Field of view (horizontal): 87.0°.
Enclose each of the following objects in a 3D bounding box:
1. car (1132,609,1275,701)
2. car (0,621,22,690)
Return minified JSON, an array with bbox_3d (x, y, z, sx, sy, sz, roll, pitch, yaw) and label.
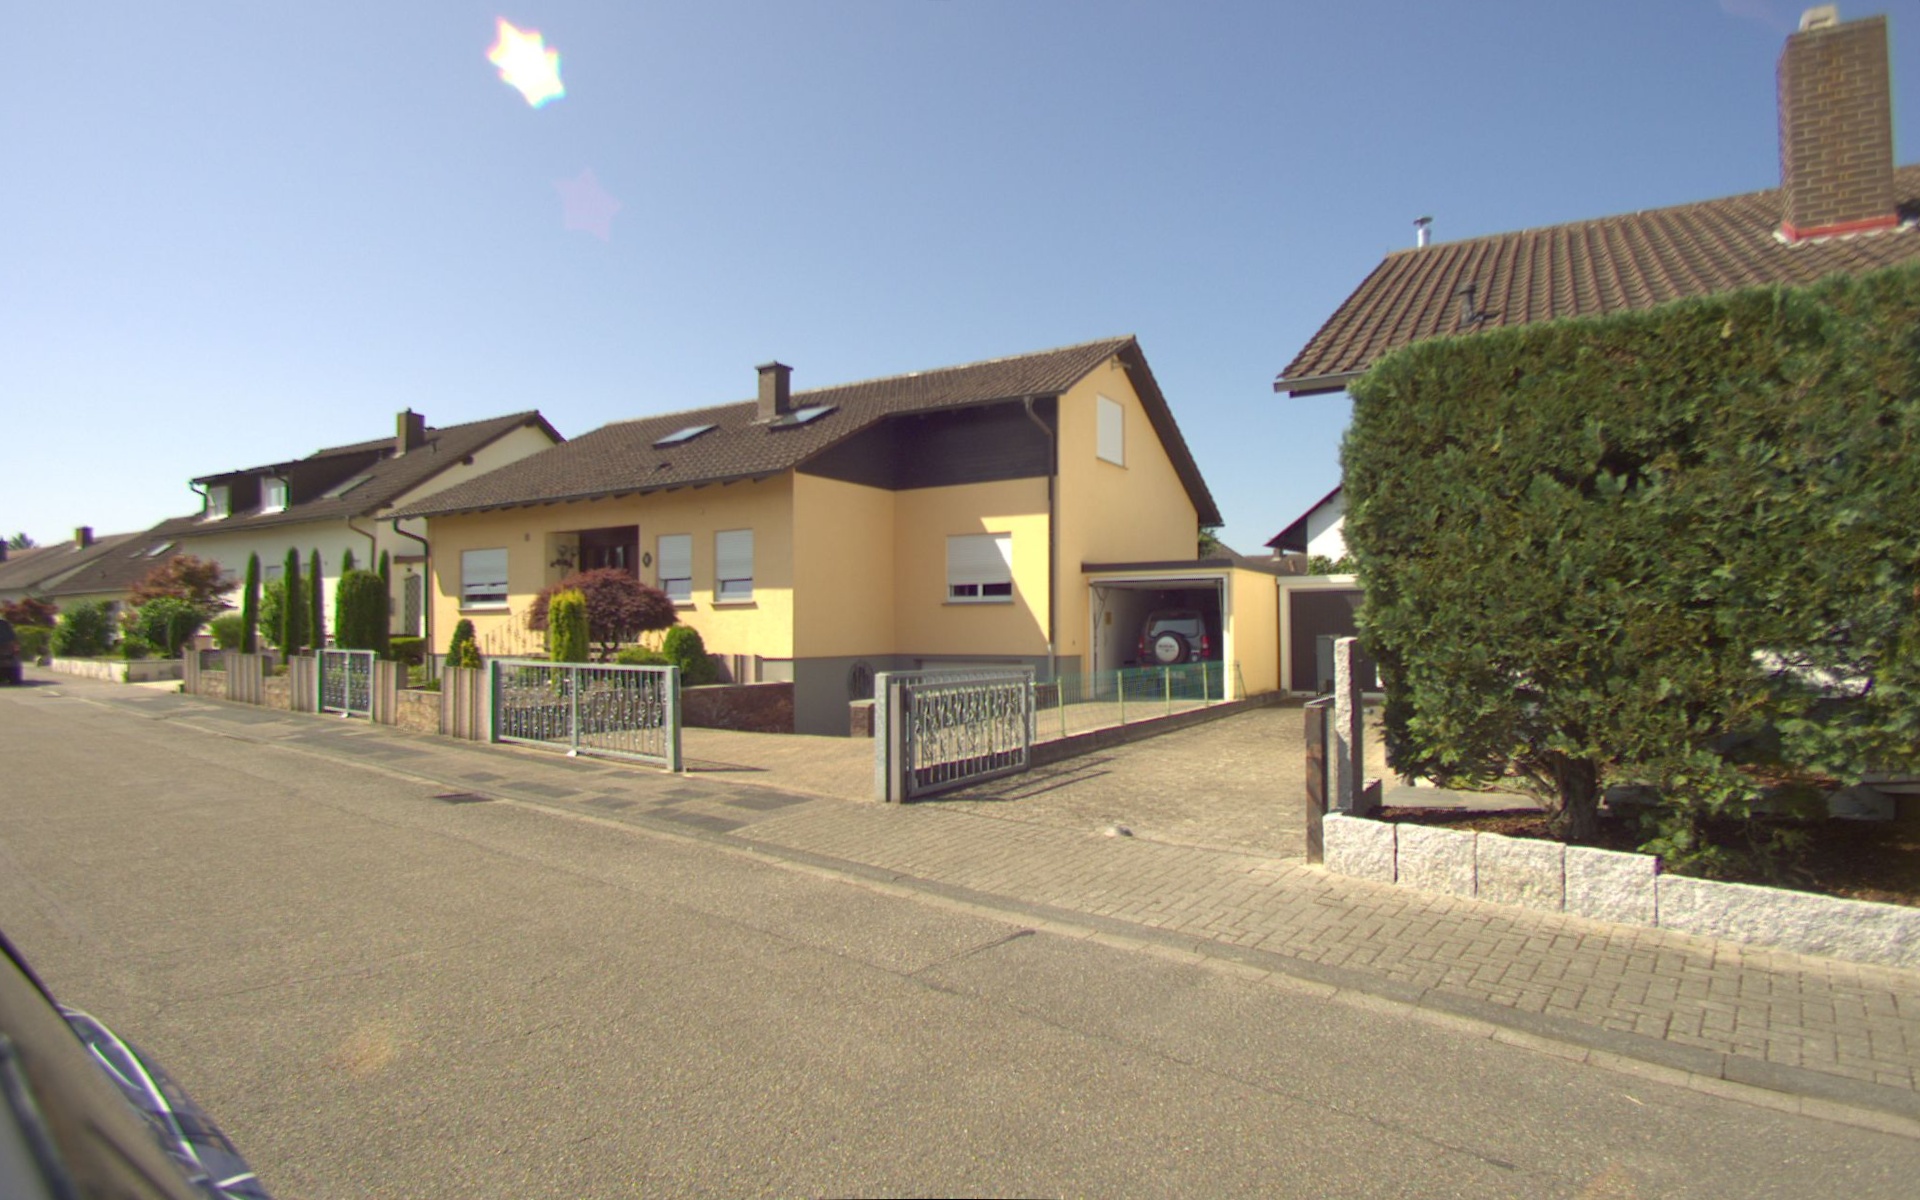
[{"bbox_3d":[4.856,1.046,19.901,1.544,1.623,3.659,-2,-3,34],"label":"car"},{"bbox_3d":[-26.664,1.479,27.185,3.650,1.791,1.746,-2,-2,41],"label":"car"}]
